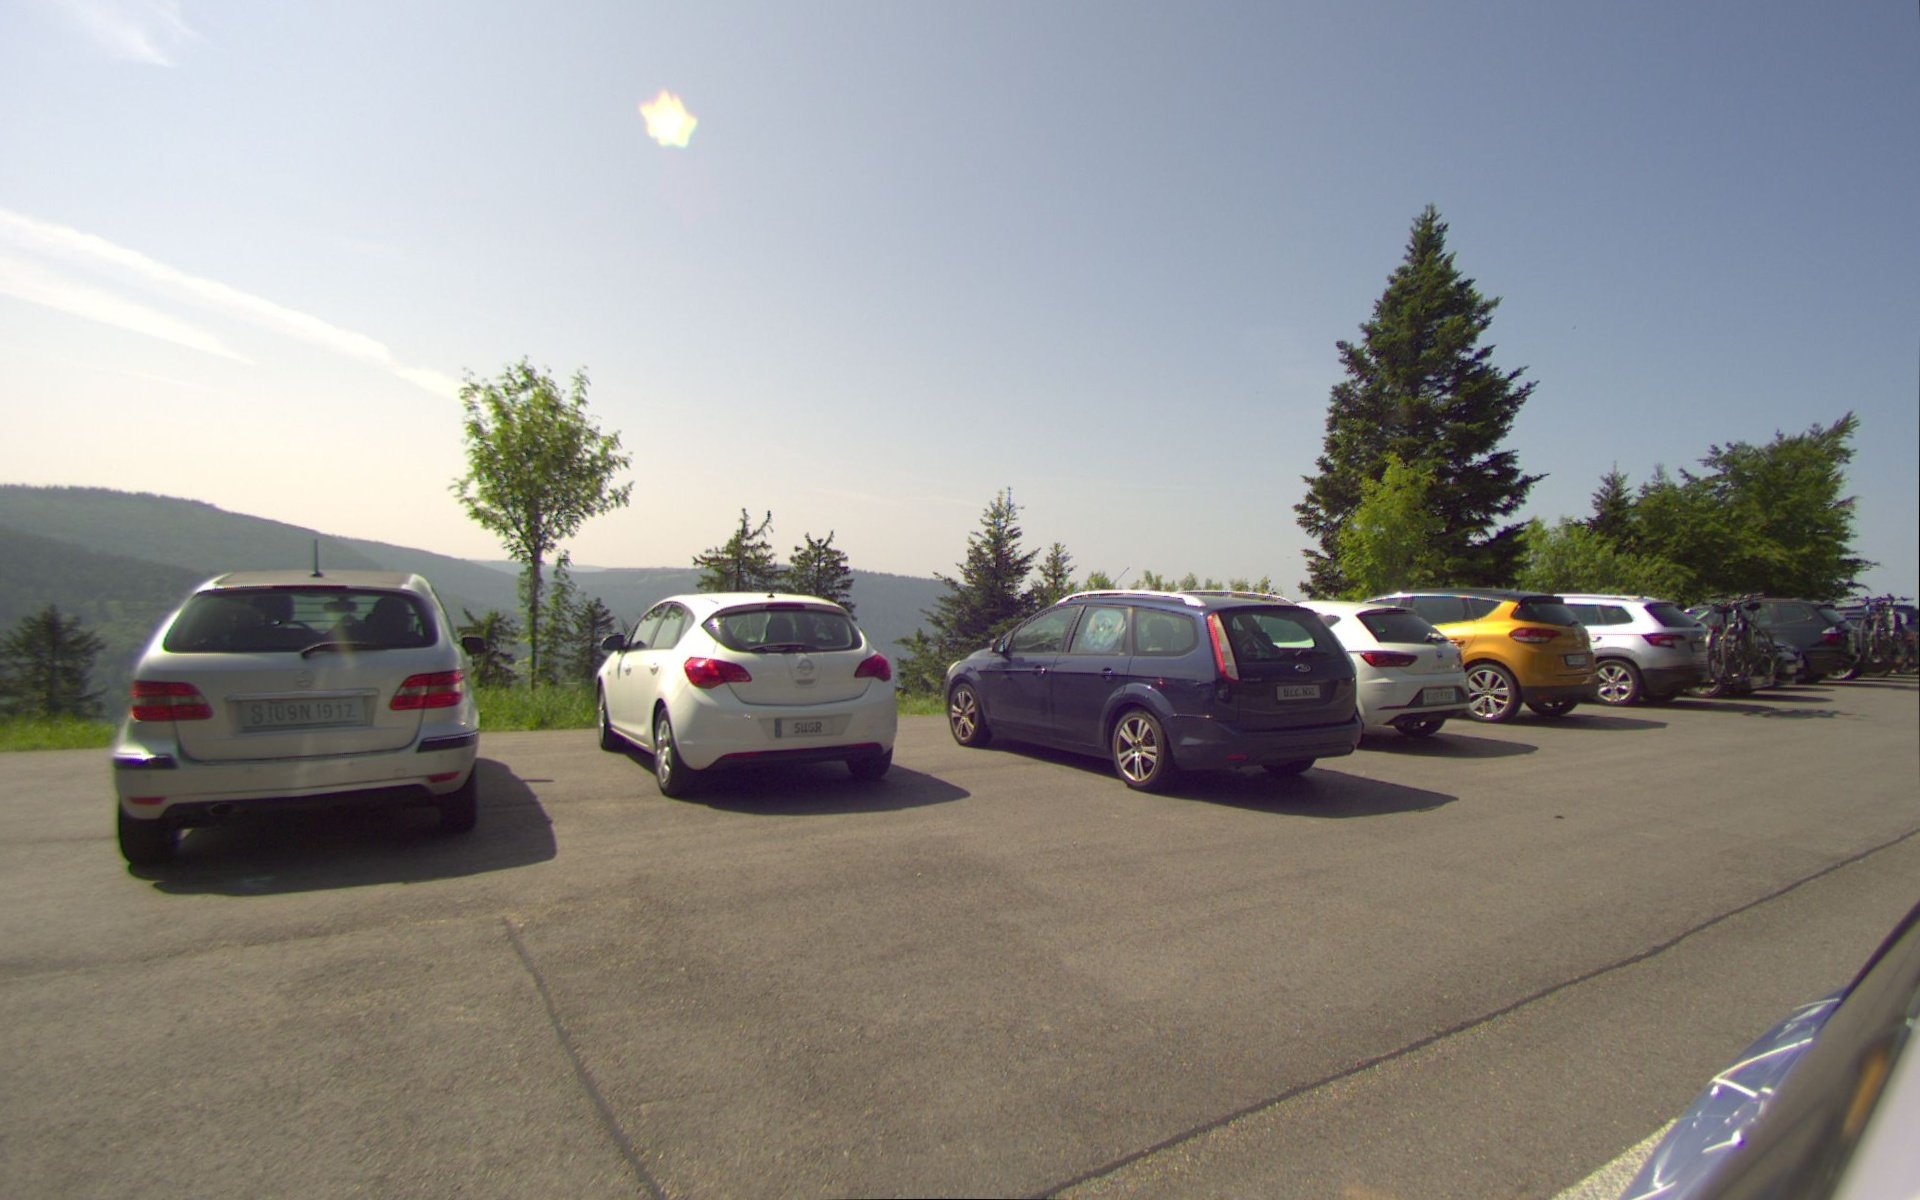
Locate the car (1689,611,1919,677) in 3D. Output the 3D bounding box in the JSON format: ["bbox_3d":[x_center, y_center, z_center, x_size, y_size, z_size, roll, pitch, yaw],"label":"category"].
[{"bbox_3d":[18.202,0.896,21.858,1.535,1.285,3.708,2,-2,-37],"label":"car"}]

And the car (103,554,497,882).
[{"bbox_3d":[-4.342,0.573,7.101,1.731,1.594,4.005,0,0,-28],"label":"car"}]

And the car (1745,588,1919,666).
[{"bbox_3d":[22.789,0.632,25.584,1.963,1.845,4.324,1,0,-37],"label":"car"}]

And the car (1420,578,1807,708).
[{"bbox_3d":[9.585,0.575,15.199,1.976,1.647,4.487,1,-1,-37],"label":"car"}]

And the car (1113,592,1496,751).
[{"bbox_3d":[3.637,0.682,11.345,1.583,1.438,3.896,-1,-1,-34],"label":"car"}]

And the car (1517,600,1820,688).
[{"bbox_3d":[13.079,0.776,18.973,1.657,1.450,4.327,1,-2,-34],"label":"car"}]

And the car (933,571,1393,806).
[{"bbox_3d":[1.486,0.581,8.956,1.639,1.563,4.147,1,0,-31],"label":"car"}]

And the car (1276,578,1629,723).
[{"bbox_3d":[6.363,0.615,13.476,1.677,1.636,3.889,1,-2,-35],"label":"car"}]

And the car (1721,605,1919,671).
[{"bbox_3d":[20.486,0.843,24.013,1.709,1.368,3.677,1,0,-43],"label":"car"}]

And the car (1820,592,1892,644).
[{"bbox_3d":[34.327,0.646,38.743,1.862,1.864,3.821,1,1,44],"label":"car"}]

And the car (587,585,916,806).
[{"bbox_3d":[-2.029,0.636,8.792,1.731,1.438,4.005,0,-1,-28],"label":"car"}]

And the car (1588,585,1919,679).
[{"bbox_3d":[15.838,0.663,20.315,1.962,1.641,5.114,1,-3,-36],"label":"car"}]

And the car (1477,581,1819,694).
[{"bbox_3d":[11.376,0.607,17.052,1.720,1.639,4.430,1,-2,-37],"label":"car"}]
